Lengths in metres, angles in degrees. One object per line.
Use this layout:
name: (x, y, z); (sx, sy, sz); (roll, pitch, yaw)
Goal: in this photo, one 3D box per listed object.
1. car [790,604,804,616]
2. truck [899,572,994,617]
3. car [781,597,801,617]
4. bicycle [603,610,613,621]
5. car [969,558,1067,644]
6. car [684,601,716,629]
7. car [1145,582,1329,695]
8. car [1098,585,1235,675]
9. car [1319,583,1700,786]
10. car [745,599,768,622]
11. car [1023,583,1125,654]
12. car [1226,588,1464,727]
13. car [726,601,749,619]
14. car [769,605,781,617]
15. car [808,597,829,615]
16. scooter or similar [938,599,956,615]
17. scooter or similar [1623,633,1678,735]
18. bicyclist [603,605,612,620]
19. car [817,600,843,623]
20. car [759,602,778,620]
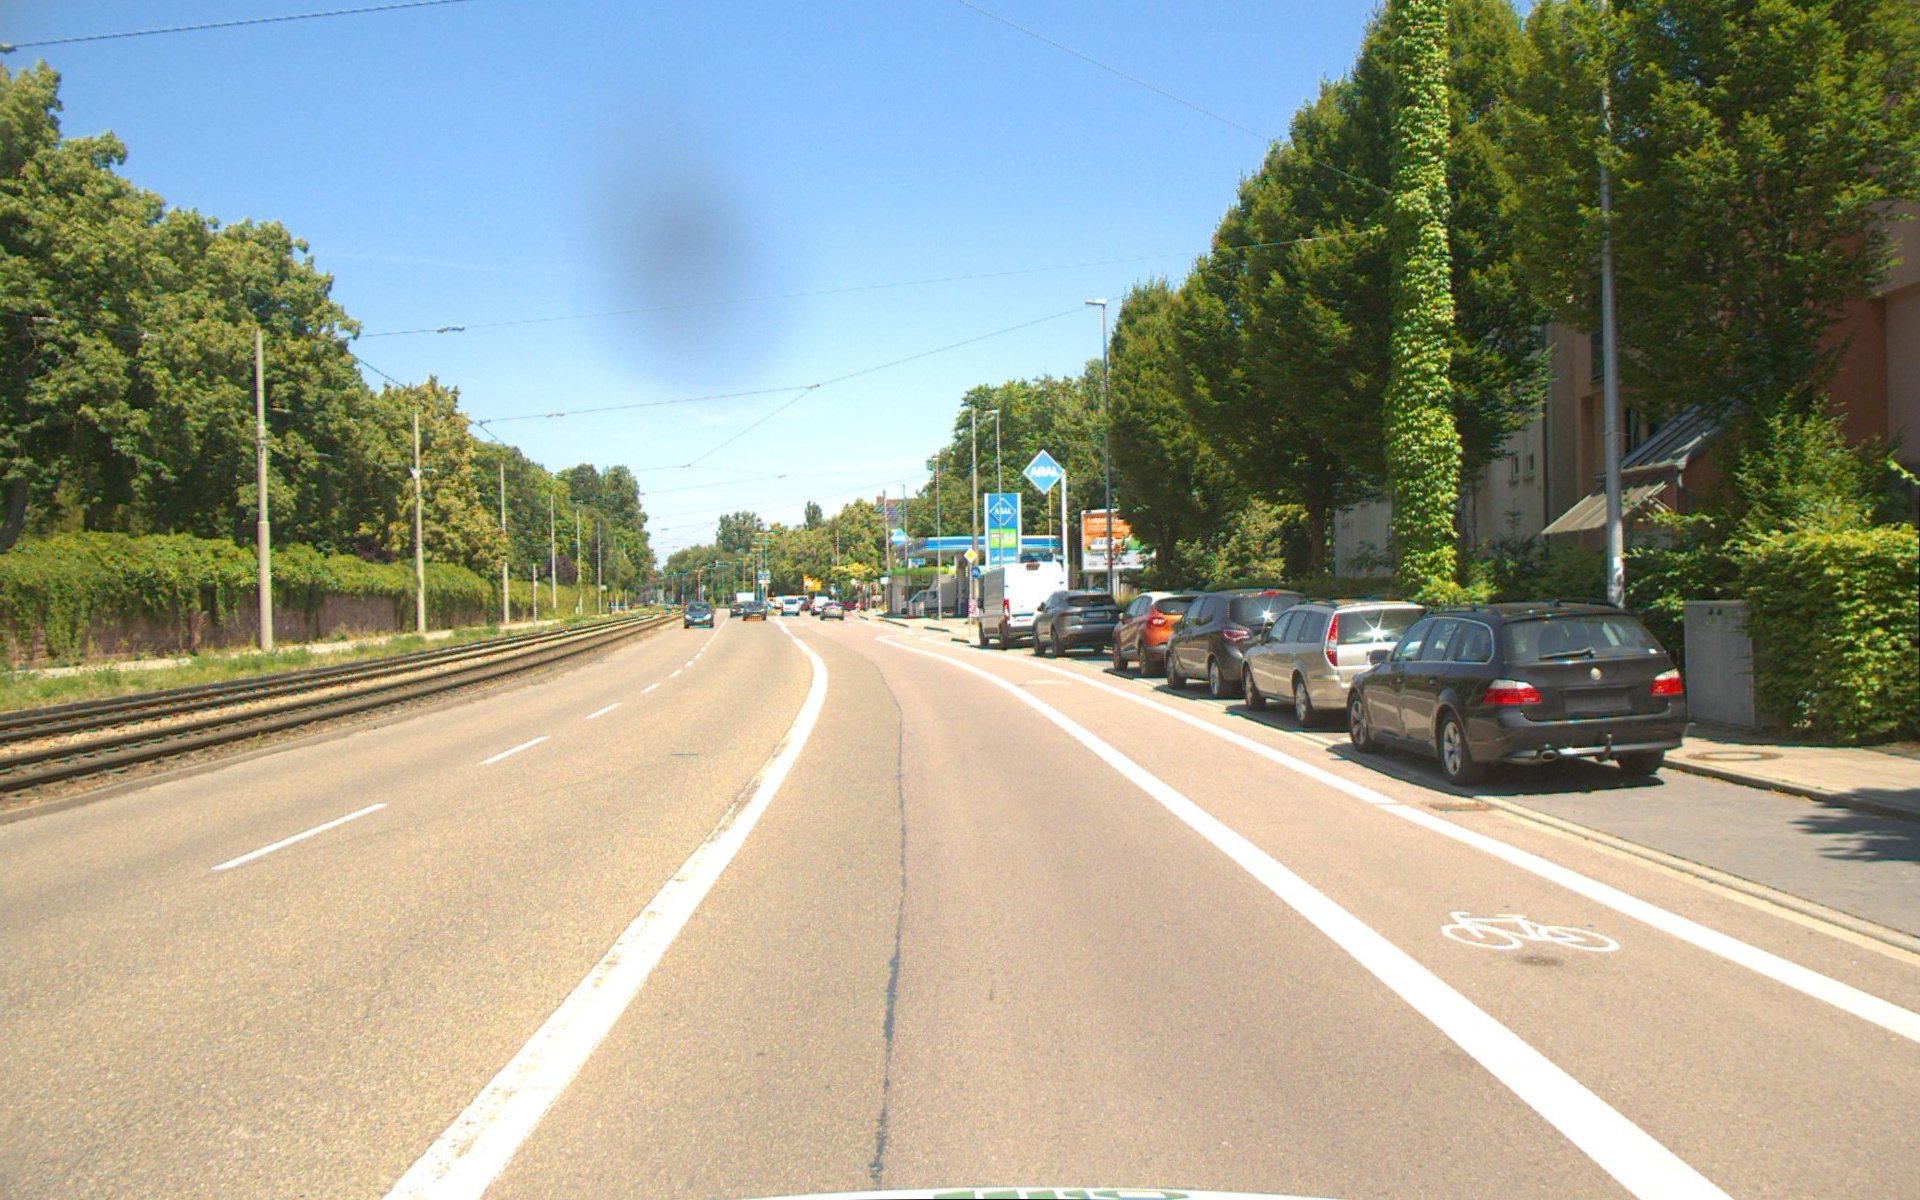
car: (-22.963, 1.434, 233.169); (1.723, 1.659, 4.316); (-3, 0, -7)
truck: (-1.112, -0.437, 136.893); (7.806, 3.665, 2.662); (0, 0, -2)
car: (-16.476, 0.686, 161.401); (1.723, 1.907, 4.316); (-3, 0, -7)
bicycle: (-38.642, 1.724, 181.471); (0.668, 1.072, 2.007); (-5, -1, -4)
car: (1.778, 0.033, 52.825); (1.964, 2.499, 6.097); (-3, 0, -8)
car: (-15.317, 0.893, 97.578); (1.723, 1.535, 4.316); (-3, 0, -7)
car: (4.368, 0.572, 26.745); (1.675, 1.589, 4.316); (-3, 0, -8)
car: (4.000, 0.555, 32.672); (1.674, 1.589, 4.318); (-3, 0, -6)
car: (4.890, 0.658, 15.568); (1.673, 1.518, 5.036); (-3, 0, -2)
car: (-15.863, 0.786, 128.813); (1.723, 1.659, 4.316); (-3, 0, -7)
car: (2.880, 0.456, 42.677); (1.723, 1.659, 4.316); (-3, 0, -7)
car: (4.810, 0.653, 21.380); (1.673, 1.518, 4.728); (-3, 0, -3)
car: (-21.003, 0.936, 155.842); (1.725, 1.659, 4.310); (-3, 0, -13)
car: (-28.431, 1.655, 253.782); (1.723, 1.659, 4.316); (-3, 0, -7)
car: (-13.948, 0.581, 162.864); (1.723, 1.659, 4.316); (-3, 0, -7)
scooter or similar: (-1.120, 0.586, 140.895); (1.524, 1.351, 0.536); (0, 0, -9)
scooter or similar: (7.415, 0.886, 17.777); (0.327, 1.049, 1.083); (2, -1, 12)
bicyclist: (-38.672, 1.333, 181.485); (0.668, 1.601, 0.794); (-5, -1, -4)
car: (-10.255, 0.903, 130.283); (1.723, 1.659, 4.316); (-3, 0, -7)
car: (-18.385, 1.042, 158.763); (1.722, 1.659, 4.318); (-3, 0, -6)
